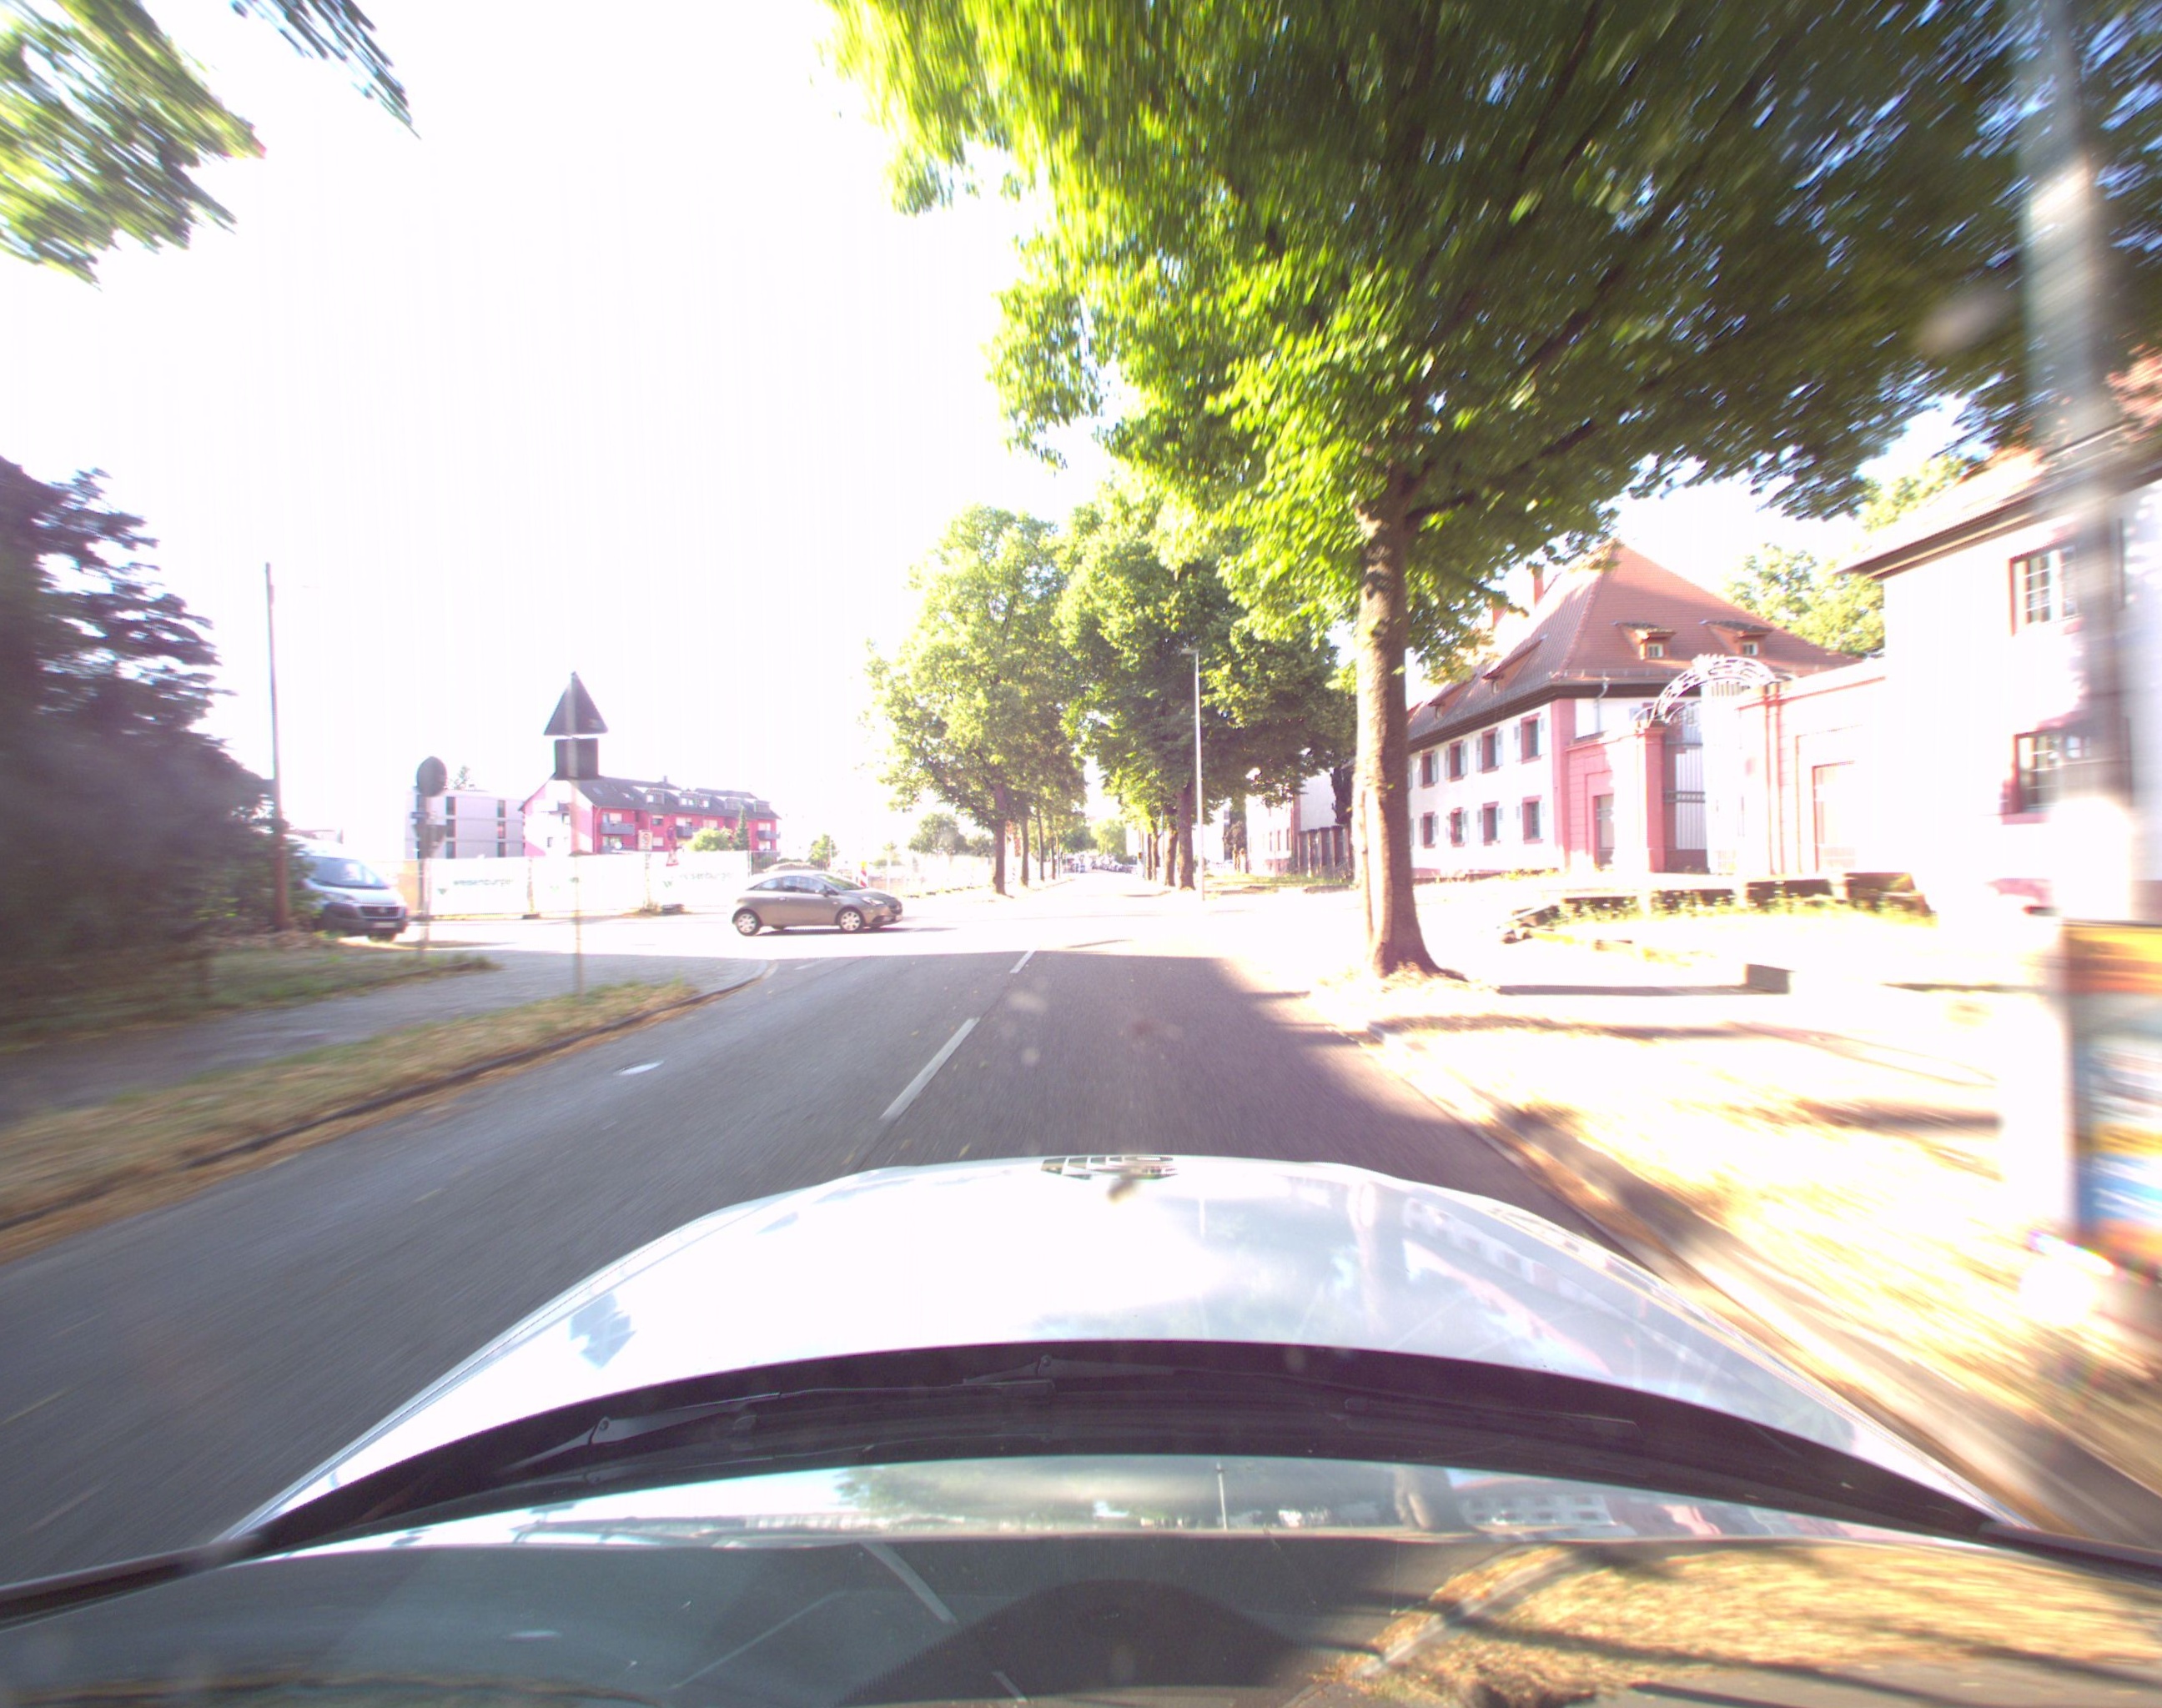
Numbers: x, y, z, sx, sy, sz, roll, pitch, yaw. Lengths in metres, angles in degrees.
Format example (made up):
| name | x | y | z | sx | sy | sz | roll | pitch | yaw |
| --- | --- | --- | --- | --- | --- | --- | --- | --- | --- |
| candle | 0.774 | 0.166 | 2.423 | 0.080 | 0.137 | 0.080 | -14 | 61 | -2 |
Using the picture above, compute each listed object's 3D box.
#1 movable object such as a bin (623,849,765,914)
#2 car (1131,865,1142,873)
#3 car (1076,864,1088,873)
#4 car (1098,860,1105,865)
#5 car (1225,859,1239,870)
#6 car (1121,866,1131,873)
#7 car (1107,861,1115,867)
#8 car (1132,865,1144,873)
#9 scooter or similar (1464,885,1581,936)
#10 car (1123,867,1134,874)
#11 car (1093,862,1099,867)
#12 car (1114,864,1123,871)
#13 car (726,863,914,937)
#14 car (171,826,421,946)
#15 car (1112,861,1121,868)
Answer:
| name | x | y | z | sx | sy | sz | roll | pitch | yaw |
| --- | --- | --- | --- | --- | --- | --- | --- | --- | --- |
| movable object such as a bin | -32.859 | 2.167 | 70.028 | 2.982 | 4.993 | 11.627 | -4 | -1 | 25 |
| car | 9.990 | 2.721 | 147.214 | 1.834 | 1.261 | 4.002 | 1 | 0 | 2 |
| car | 0.168 | 2.863 | 159.894 | 1.989 | 1.688 | 3.995 | -1 | -2 | -3 |
| car | 6.223 | 2.671 | 245.339 | 1.837 | 1.386 | 3.995 | -2 | 0 | -3 |
| car | 24.397 | 1.715 | 131.663 | 1.804 | 1.559 | 3.629 | 1 | -2 | 5 |
| car | 9.478 | 3.215 | 172.344 | 1.836 | 1.386 | 3.998 | -2 | 0 | -1 |
| car | 7.924 | 2.668 | 216.120 | 1.836 | 1.386 | 3.998 | -2 | -1 | -1 |
| car | 9.544 | 2.464 | 136.869 | 1.834 | 1.261 | 4.001 | -2 | -1 | 2 |
| scooter or similar | 6.884 | 0.869 | 12.770 | 1.221 | 0.548 | 1.064 | -10 | -1 | 1 |
| car | 8.932 | 3.168 | 153.905 | 1.834 | 1.261 | 4.001 | -2 | -1 | 2 |
| car | 4.366 | 3.160 | 240.000 | 1.709 | 1.486 | 3.997 | -2 | -2 | -1 |
| car | 8.426 | 3.100 | 183.561 | 1.836 | 1.386 | 3.998 | -2 | -1 | -1 |
| car | -6.118 | 1.060 | 19.330 | 3.827 | 1.473 | 1.653 | -3 | -1 | 4 |
| car | -18.080 | 0.723 | 18.746 | 5.260 | 2.468 | 2.181 | -2 | -1 | 23 |
| car | 8.506 | 2.522 | 195.711 | 1.836 | 1.386 | 3.998 | -2 | -1 | -1 |
